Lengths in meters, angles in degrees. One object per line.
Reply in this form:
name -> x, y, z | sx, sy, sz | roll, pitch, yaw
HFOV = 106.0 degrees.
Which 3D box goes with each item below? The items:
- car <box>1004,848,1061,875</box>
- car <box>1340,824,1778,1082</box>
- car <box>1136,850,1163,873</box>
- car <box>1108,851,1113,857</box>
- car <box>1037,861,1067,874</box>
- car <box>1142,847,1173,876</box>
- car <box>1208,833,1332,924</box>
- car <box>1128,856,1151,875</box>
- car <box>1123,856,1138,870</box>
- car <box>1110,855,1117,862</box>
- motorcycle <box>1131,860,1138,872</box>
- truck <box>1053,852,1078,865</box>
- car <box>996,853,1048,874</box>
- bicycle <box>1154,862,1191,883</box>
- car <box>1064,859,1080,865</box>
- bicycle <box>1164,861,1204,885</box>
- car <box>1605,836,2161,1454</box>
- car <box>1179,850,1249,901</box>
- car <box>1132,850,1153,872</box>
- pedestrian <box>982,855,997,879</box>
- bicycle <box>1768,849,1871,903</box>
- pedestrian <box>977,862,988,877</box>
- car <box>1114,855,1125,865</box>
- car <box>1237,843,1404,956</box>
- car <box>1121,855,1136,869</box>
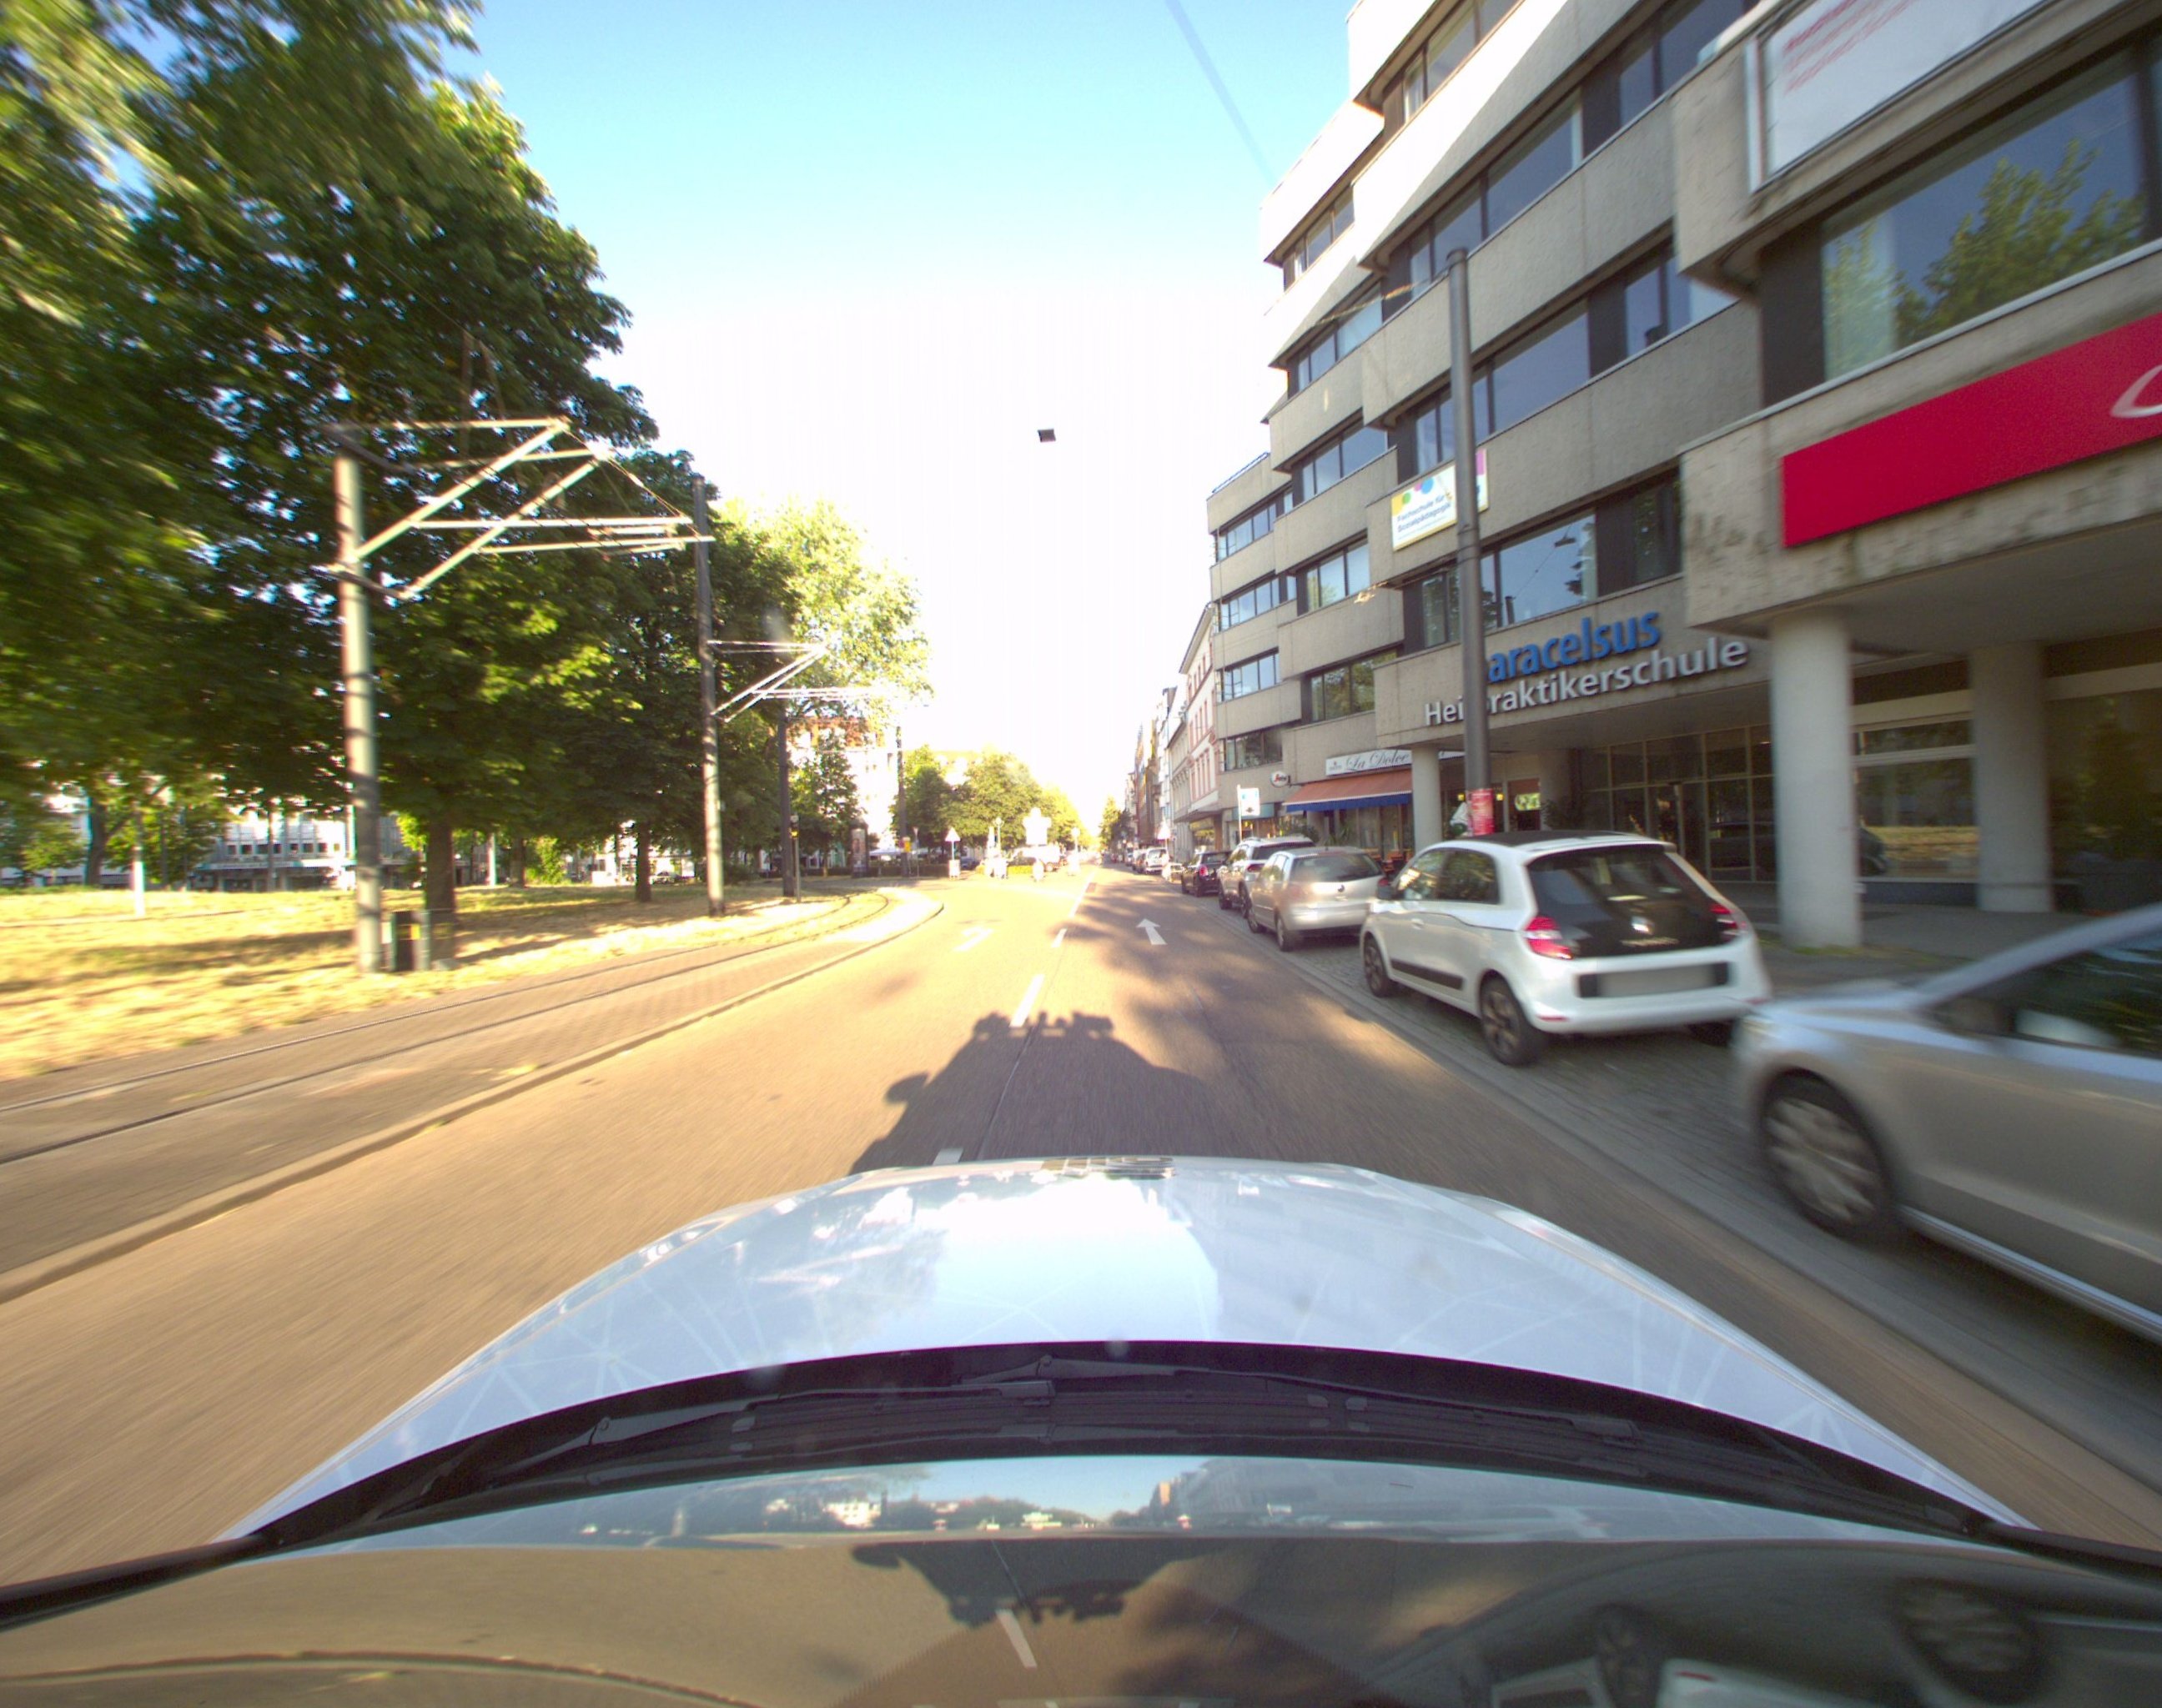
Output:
car -> -4.313, 0.648, 72.697 | 4.622, 2.251, 2.184 | -1, -1, -26
car -> 3.595, 0.616, 6.957 | 1.579, 1.590, 3.667 | -1, 0, 0
car -> 5.059, 0.539, 60.312 | 1.651, 1.665, 4.108 | -1, 0, 1
car -> 9.051, 0.067, 249.243 | 1.305, 1.600, 2.659 | -2, -1, -1
car -> -4.334, 2.024, 123.034 | 4.434, 1.835, 2.034 | -1, 0, 0
car -> 5.131, 0.491, 55.062 | 1.786, 1.792, 4.093 | -2, -1, 2
car -> 4.159, 0.489, 18.654 | 1.778, 1.804, 4.400 | -1, 0, 0
car -> 4.776, 0.926, 67.094 | 1.661, 1.544, 3.884 | -1, 0, 1
car -> 6.083, 1.078, 99.309 | 1.673, 1.561, 4.004 | -4, 0, 4
car -> 7.086, 1.007, 178.362 | 1.203, 1.300, 2.659 | -1, -1, -1
motorcycle -> 5.395, 1.212, 82.709 | 0.586, 1.200, 2.211 | -2, 0, 1
truck -> -3.257, 0.982, 169.114 | 4.924, 2.615, 2.000 | -2, -1, 0
car -> -4.790, 0.745, 66.251 | 3.903, 1.582, 1.782 | -2, 0, -38
bicycle -> 4.856, 0.971, 43.220 | 1.771, 0.990, 0.545 | -5, 1, 24
car -> -2.165, 1.949, 201.971 | 3.727, 1.493, 2.000 | -2, -1, 0
bicycle -> 4.971, 0.907, 39.299 | 1.775, 0.990, 0.544 | -5, 1, 12
car -> 3.468, 0.681, 2.094 | 1.777, 1.456, 4.003 | -2, 0, 3
car -> 4.241, 0.639, 26.543 | 1.783, 1.507, 3.923 | -1, 0, 2
car -> 5.479, 0.599, 73.093 | 1.703, 1.835, 4.308 | -1, 0, 2
pedestrian -> -6.169, 0.878, 54.868 | 0.702, 1.559, 0.687 | -1, 0, -36
bicycle -> 11.853, 0.343, 13.074 | 1.391, 0.828, 0.436 | -1, 0, -9
pedestrian -> -8.823, 1.366, 72.978 | 0.752, 1.277, 0.654 | -1, 0, -36
car -> 6.908, 1.054, 146.331 | 1.572, 1.543, 3.395 | -4, -1, -1
car -> 3.689, 0.624, 13.227 | 1.634, 1.528, 4.002 | -1, 0, 2
car -> 6.075, 1.010, 104.360 | 1.690, 1.769, 4.000 | -2, 0, 1
